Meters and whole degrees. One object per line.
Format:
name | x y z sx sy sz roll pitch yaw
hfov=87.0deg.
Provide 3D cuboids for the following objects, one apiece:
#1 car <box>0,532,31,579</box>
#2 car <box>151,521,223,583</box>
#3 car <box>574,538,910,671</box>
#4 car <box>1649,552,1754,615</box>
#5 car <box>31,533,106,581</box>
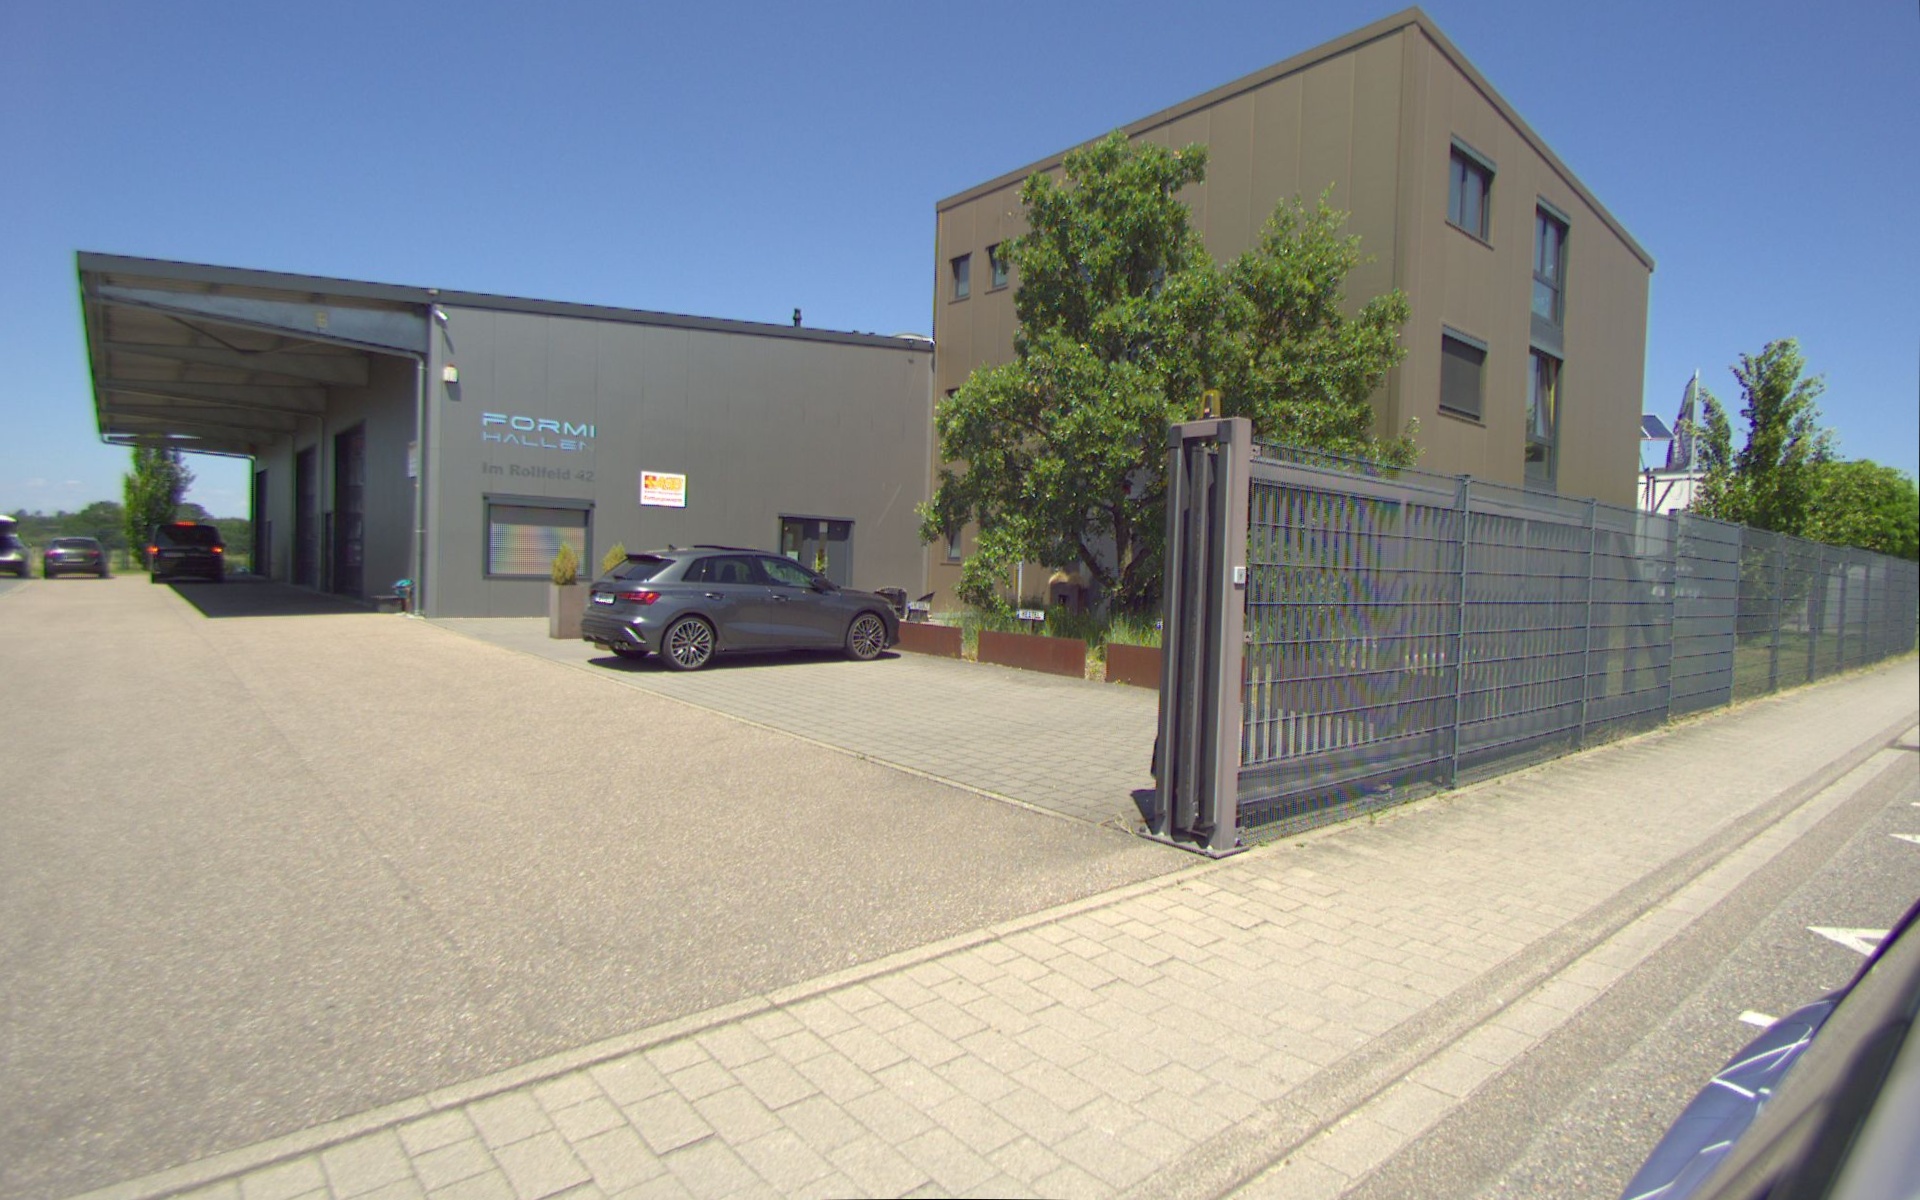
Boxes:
car | -33.059 -1.545 34.478 1.760 1.541 3.997 1 1 -39
car | -25.190 -1.536 32.936 1.760 1.865 3.997 1 1 -39
car | -2.713 0.003 13.087 3.930 1.461 1.659 0 3 -41
car | 33.022 -0.717 44.971 6.902 2.524 2.135 0 4 -41
car | -31.233 -1.496 35.555 1.760 1.541 3.997 1 1 -39
